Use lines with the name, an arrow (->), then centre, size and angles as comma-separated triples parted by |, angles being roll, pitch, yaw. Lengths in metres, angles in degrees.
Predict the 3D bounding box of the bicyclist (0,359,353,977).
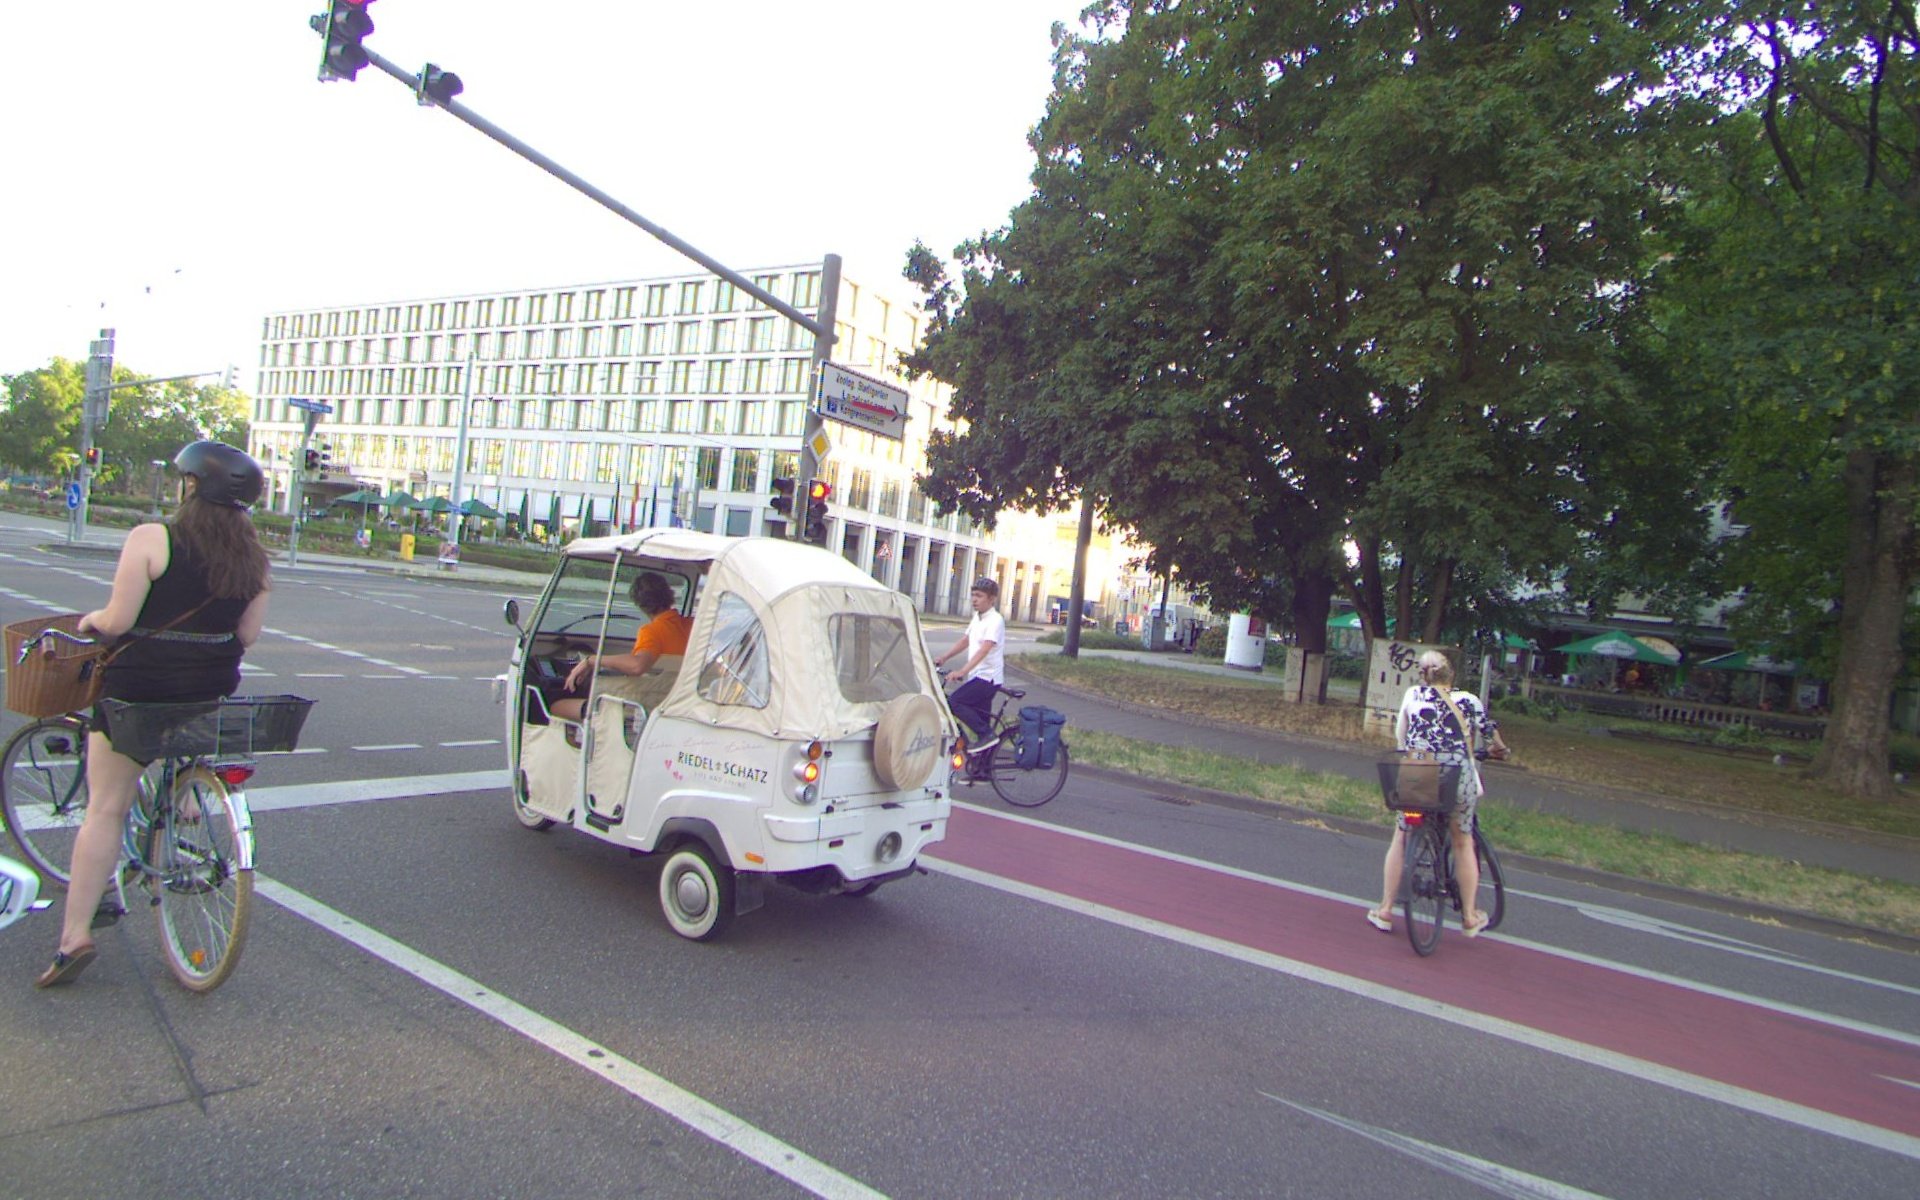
bicyclist -> -2.547, 0.177, 3.231 | 0.736, 1.714, 0.629 | 7, 1, 31

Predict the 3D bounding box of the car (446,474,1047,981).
car -> -1.121, 0.452, 5.096 | 2.523, 1.803, 1.460 | 8, 1, 34

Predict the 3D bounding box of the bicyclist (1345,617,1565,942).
bicyclist -> 2.896, 1.009, 5.913 | 0.740, 1.714, 0.709 | 6, 1, -31

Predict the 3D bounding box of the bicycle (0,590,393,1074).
bicycle -> -2.857, 0.612, 3.413 | 2.035, 1.082, 0.638 | 7, 0, 32

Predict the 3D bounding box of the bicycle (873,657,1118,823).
bicycle -> 0.283, 1.155, 8.524 | 1.868, 1.081, 0.731 | 8, -1, -1

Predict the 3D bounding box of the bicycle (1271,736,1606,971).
bicycle -> 2.857, 1.442, 5.934 | 2.001, 1.082, 0.725 | 7, 0, -32

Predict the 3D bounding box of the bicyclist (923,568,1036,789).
bicyclist -> 0.157, 0.634, 8.511 | 0.734, 1.714, 0.765 | 6, 1, 0

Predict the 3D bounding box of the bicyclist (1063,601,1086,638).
bicyclist -> 5.667, 0.951, 49.674 | 0.704, 1.714, 0.746 | 7, 1, 35

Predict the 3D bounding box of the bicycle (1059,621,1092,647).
bicycle -> 5.722, 1.693, 49.854 | 0.719, 1.082, 1.898 | 7, -1, 34
